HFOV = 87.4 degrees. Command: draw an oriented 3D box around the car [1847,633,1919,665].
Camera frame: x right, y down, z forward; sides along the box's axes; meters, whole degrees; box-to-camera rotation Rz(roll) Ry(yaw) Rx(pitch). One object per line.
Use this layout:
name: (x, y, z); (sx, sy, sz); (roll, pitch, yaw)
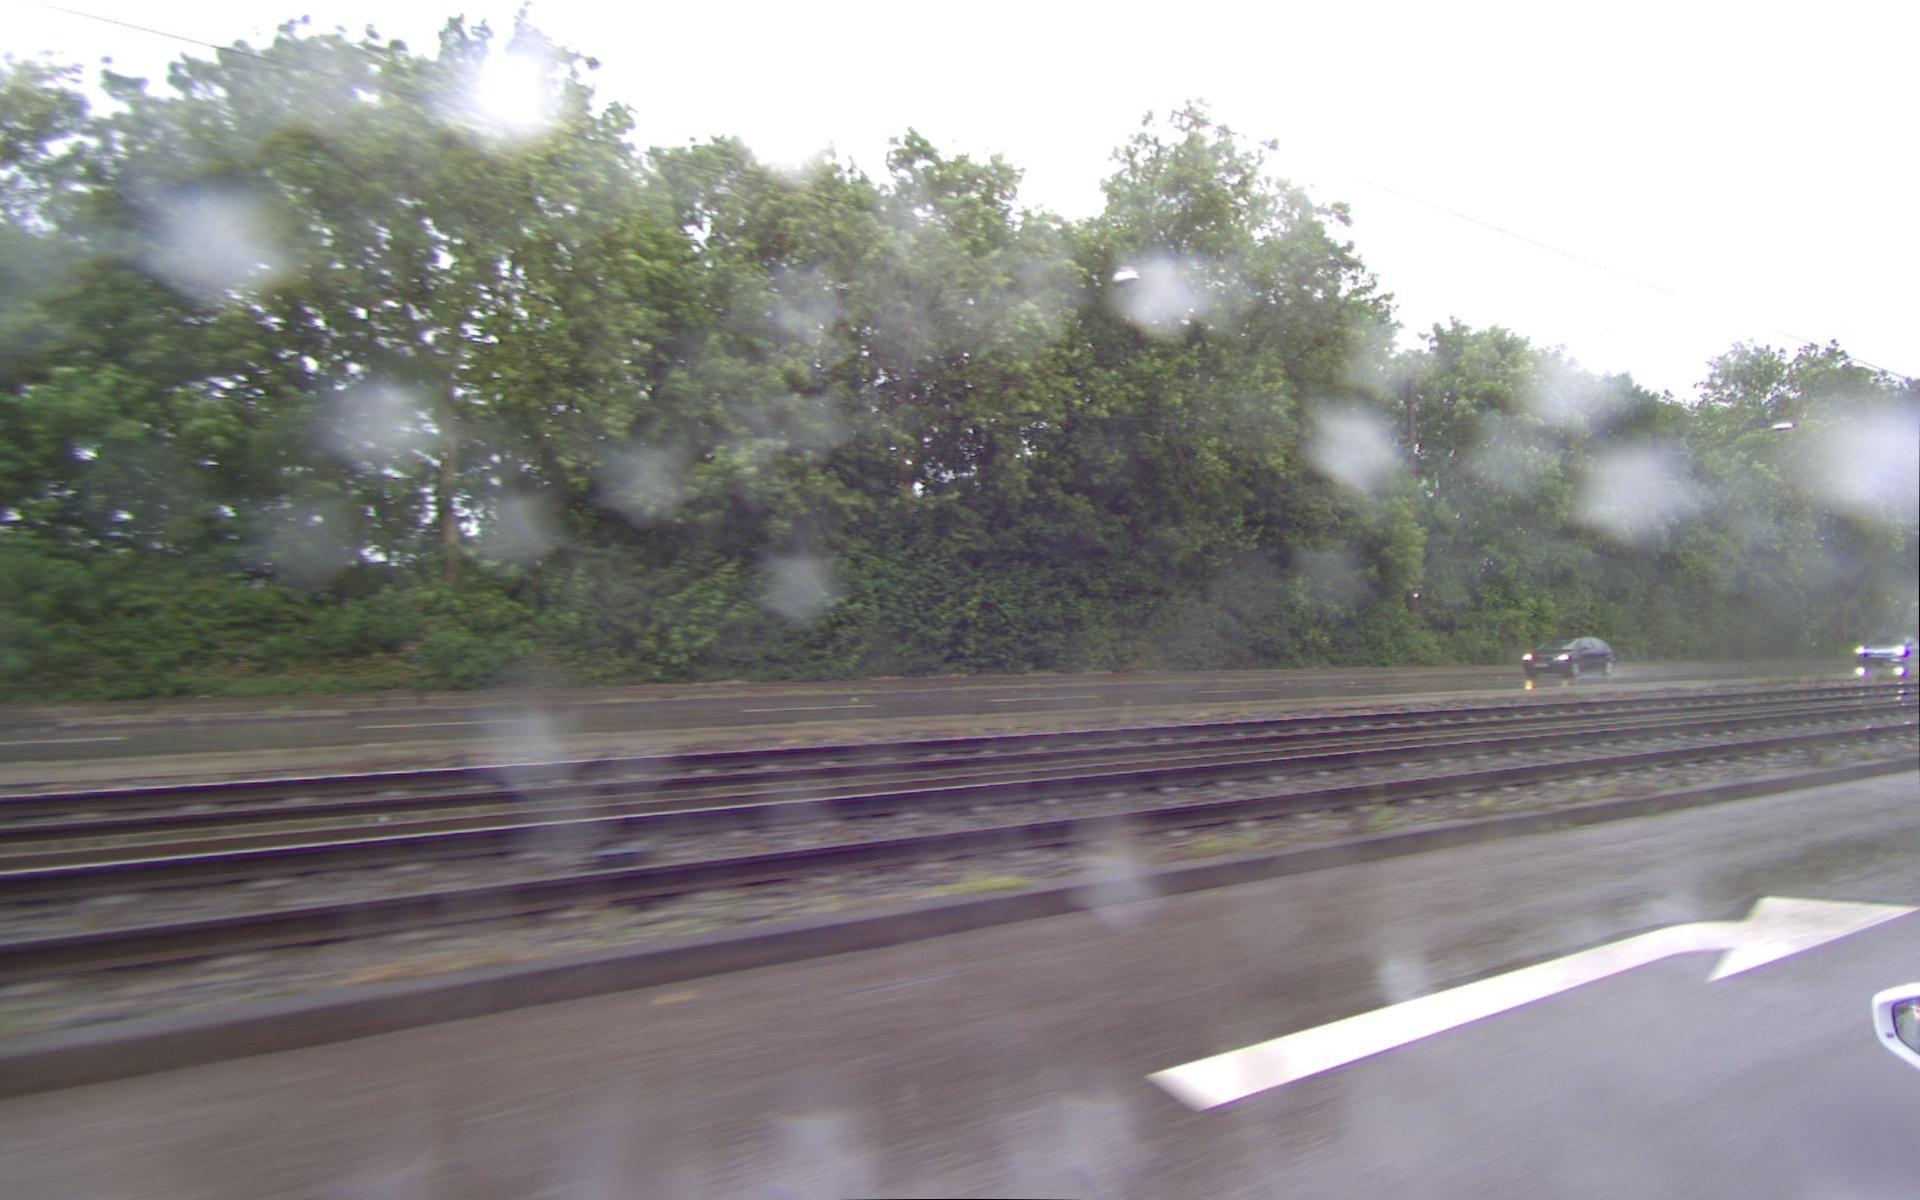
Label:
car: (46.703, 2.443, 50.654); (4.900, 1.543, 1.681); (1, -1, -32)

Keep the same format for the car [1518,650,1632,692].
car: (22.120, 2.511, 36.106); (4.331, 1.348, 1.762); (1, -1, -32)
